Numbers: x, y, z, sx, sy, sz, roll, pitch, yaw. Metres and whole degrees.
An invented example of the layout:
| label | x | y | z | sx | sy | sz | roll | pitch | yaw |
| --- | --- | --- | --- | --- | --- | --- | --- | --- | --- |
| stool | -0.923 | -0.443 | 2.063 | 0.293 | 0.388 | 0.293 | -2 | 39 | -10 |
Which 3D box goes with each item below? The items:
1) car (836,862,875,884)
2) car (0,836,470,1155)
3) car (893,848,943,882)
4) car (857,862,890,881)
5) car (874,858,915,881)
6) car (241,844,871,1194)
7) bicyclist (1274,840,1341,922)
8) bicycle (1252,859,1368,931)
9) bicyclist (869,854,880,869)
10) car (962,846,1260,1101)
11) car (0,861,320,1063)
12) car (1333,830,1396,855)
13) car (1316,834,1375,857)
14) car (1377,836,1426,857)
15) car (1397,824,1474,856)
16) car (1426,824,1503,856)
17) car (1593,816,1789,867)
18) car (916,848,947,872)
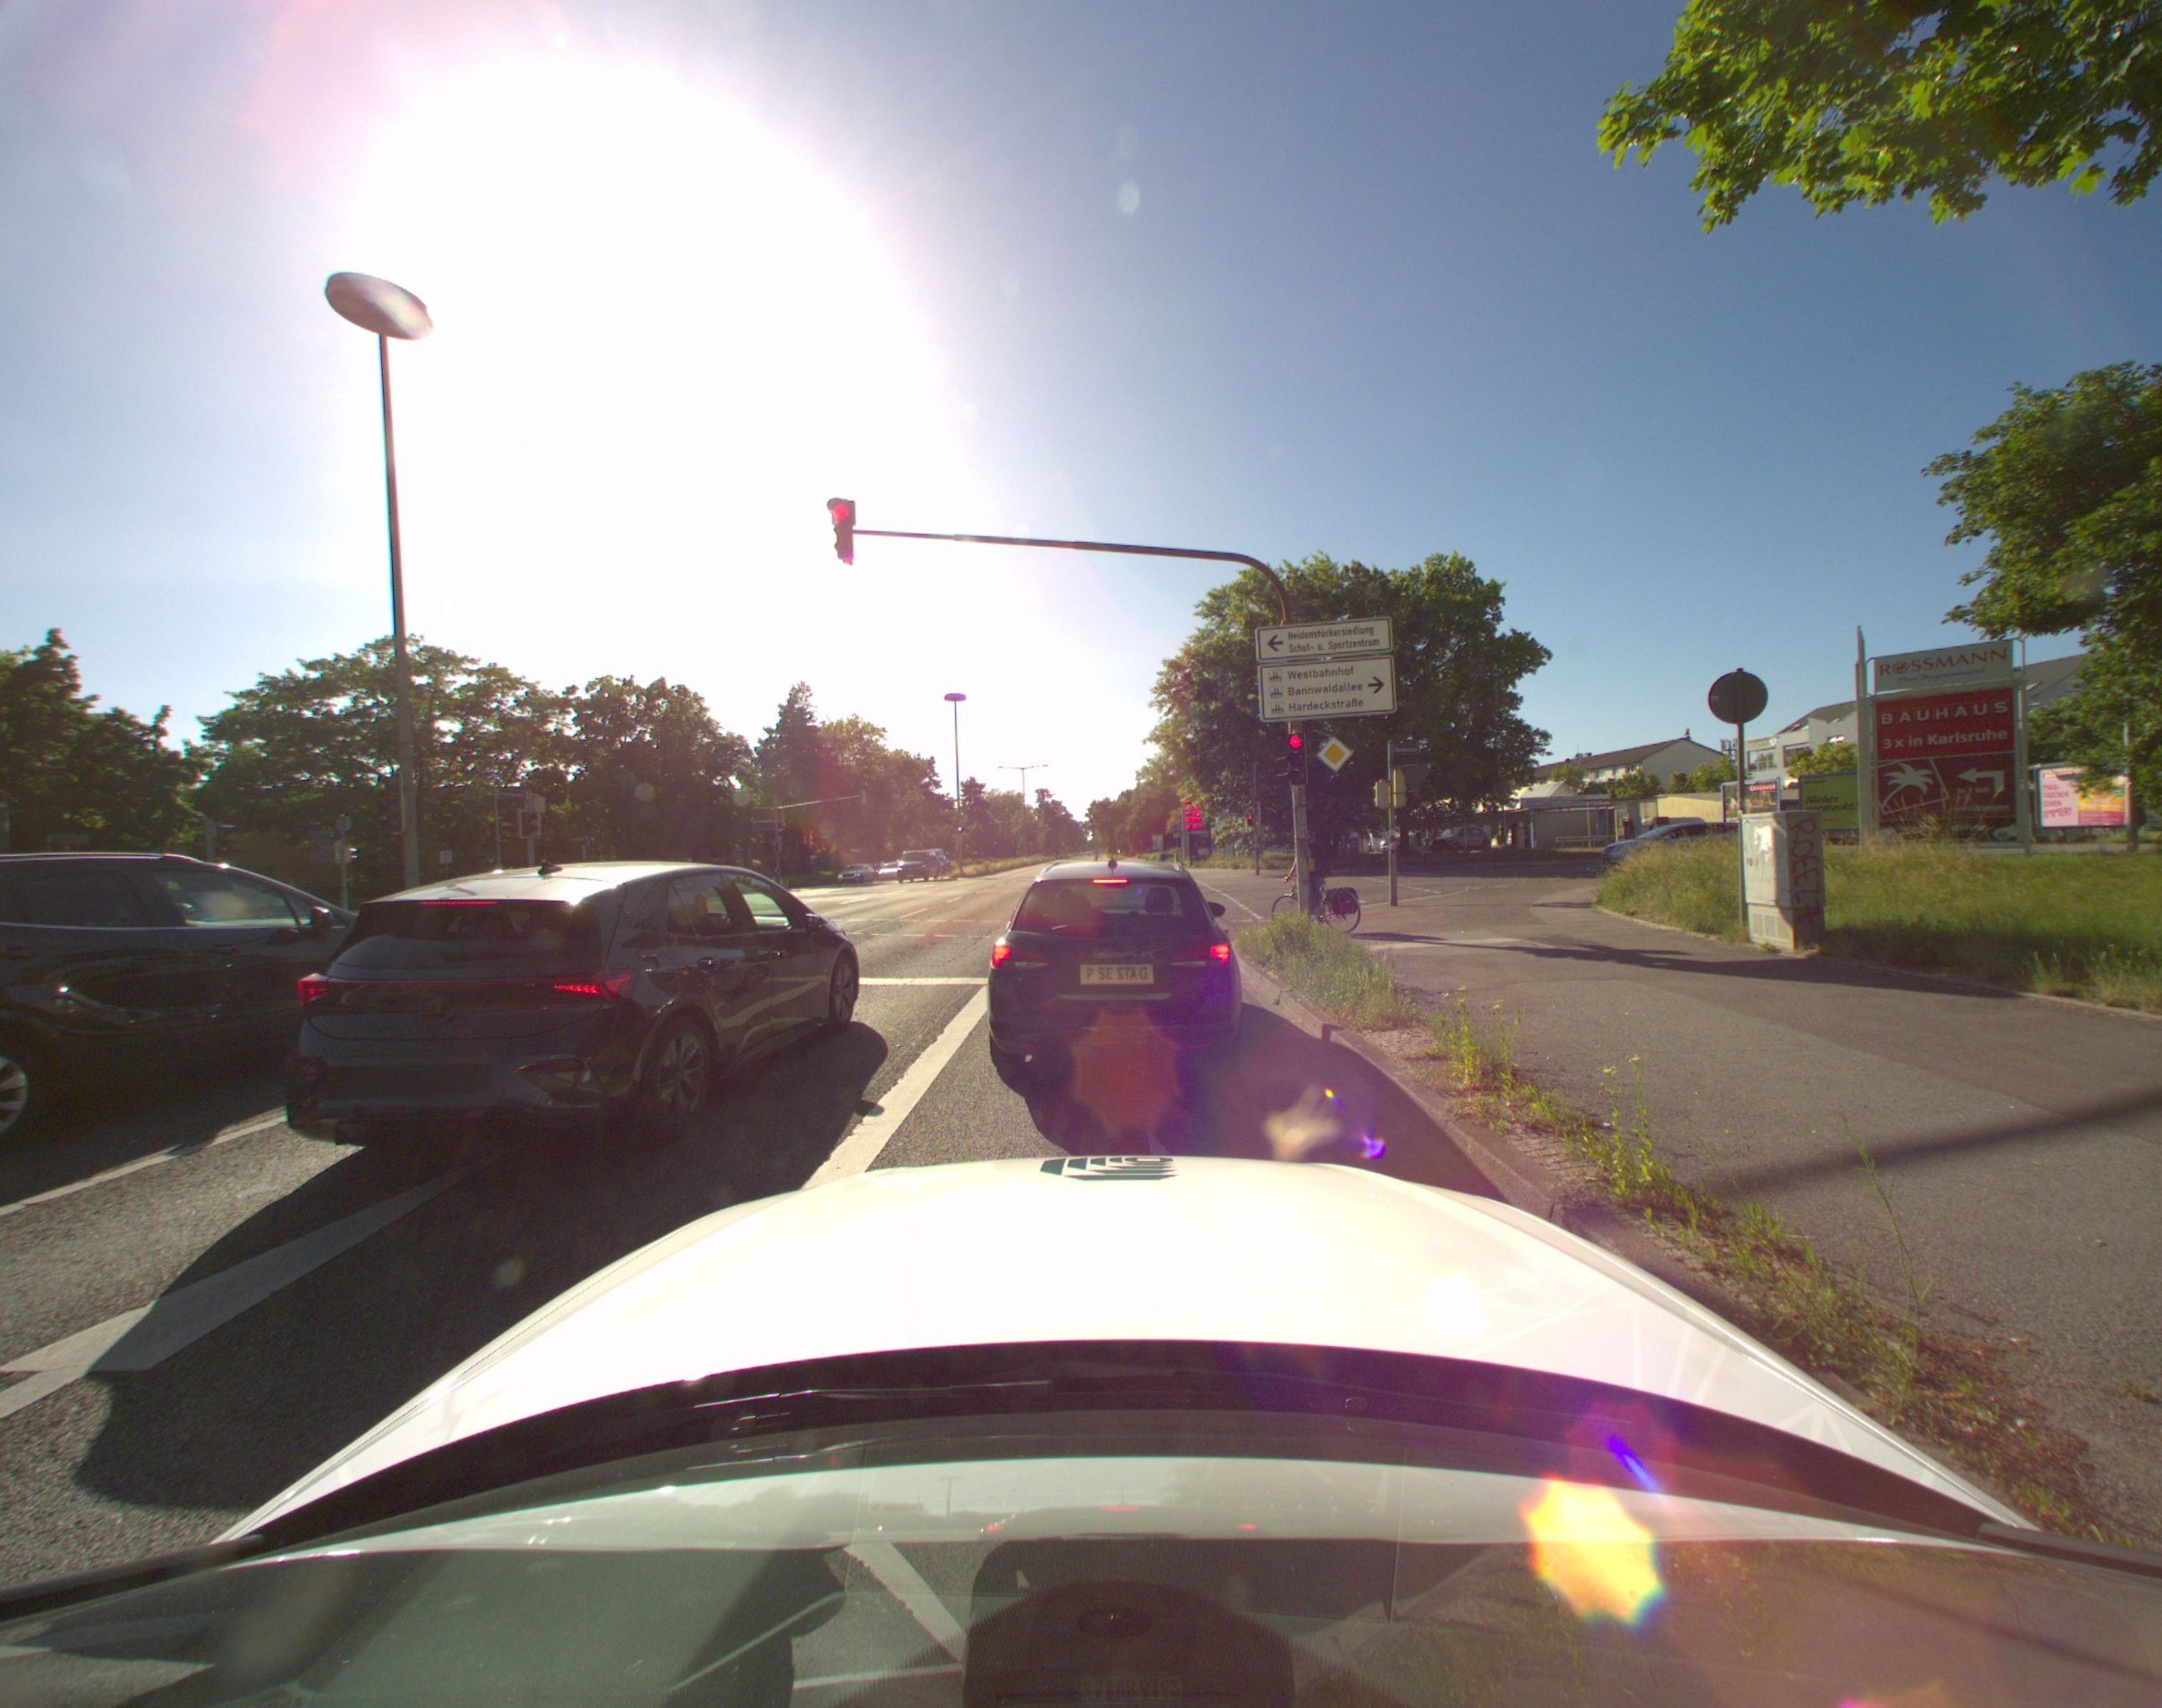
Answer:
| label | x | y | z | sx | sy | sz | roll | pitch | yaw |
| --- | --- | --- | --- | --- | --- | --- | --- | --- | --- |
| car | -17.202 | 1.424 | 62.323 | 1.680 | 1.509 | 4.005 | -3 | 0 | 2 |
| car | -6.625 | 0.788 | 5.516 | 1.798 | 1.689 | 4.002 | -3 | 0 | 2 |
| car | -10.356 | 0.675 | 52.129 | 1.904 | 1.992 | 5.017 | -3 | 0 | 2 |
| car | -17.507 | 1.453 | 68.841 | 1.681 | 1.509 | 4.003 | -3 | 0 | 0 |
| car | -14.096 | 1.166 | 61.683 | 1.881 | 1.524 | 4.506 | -3 | 0 | 2 |
| car | -2.965 | 0.773 | 5.852 | 1.678 | 1.580 | 4.208 | -1 | 0 | 2 |
| bicyclist | 3.714 | 0.447 | 13.371 | 0.541 | 1.277 | 0.819 | -3 | -2 | -42 |
| bicycle | 3.727 | 0.688 | 13.368 | 0.541 | 1.097 | 1.755 | -3 | -2 | -42 |
| bicyclist | -23.156 | 0.838 | 91.153 | 0.873 | 1.648 | 1.199 | -3 | 0 | -2 |
| car | 0.244 | 0.726 | 6.961 | 1.750 | 1.495 | 4.208 | -1 | 0 | 2 |
| car | -10.228 | 0.988 | 7.919 | 1.824 | 1.702 | 3.999 | -3 | 0 | 0 |
| car | 19.662 | -0.820 | 56.427 | 3.903 | 1.517 | 1.733 | -3 | 0 | -21 |
| car | 19.328 | -0.613 | 59.519 | 3.903 | 1.517 | 1.733 | -3 | 0 | -21 |
| car | 27.880 | -0.663 | 70.830 | 4.011 | 1.680 | 1.729 | -3 | 0 | -29 |
| car | 21.487 | -0.830 | 49.404 | 4.003 | 1.750 | 1.985 | -2 | 0 | -22 |
| car | 22.377 | -0.812 | 47.520 | 4.002 | 1.680 | 1.733 | -3 | 0 | -21 |
| car | 20.701 | -0.411 | 27.885 | 4.969 | 1.486 | 2.007 | -2 | 0 | 13 |
| car | -16.736 | 0.679 | 91.571 | 2.092 | 2.492 | 6.006 | -3 | 0 | 2 |
